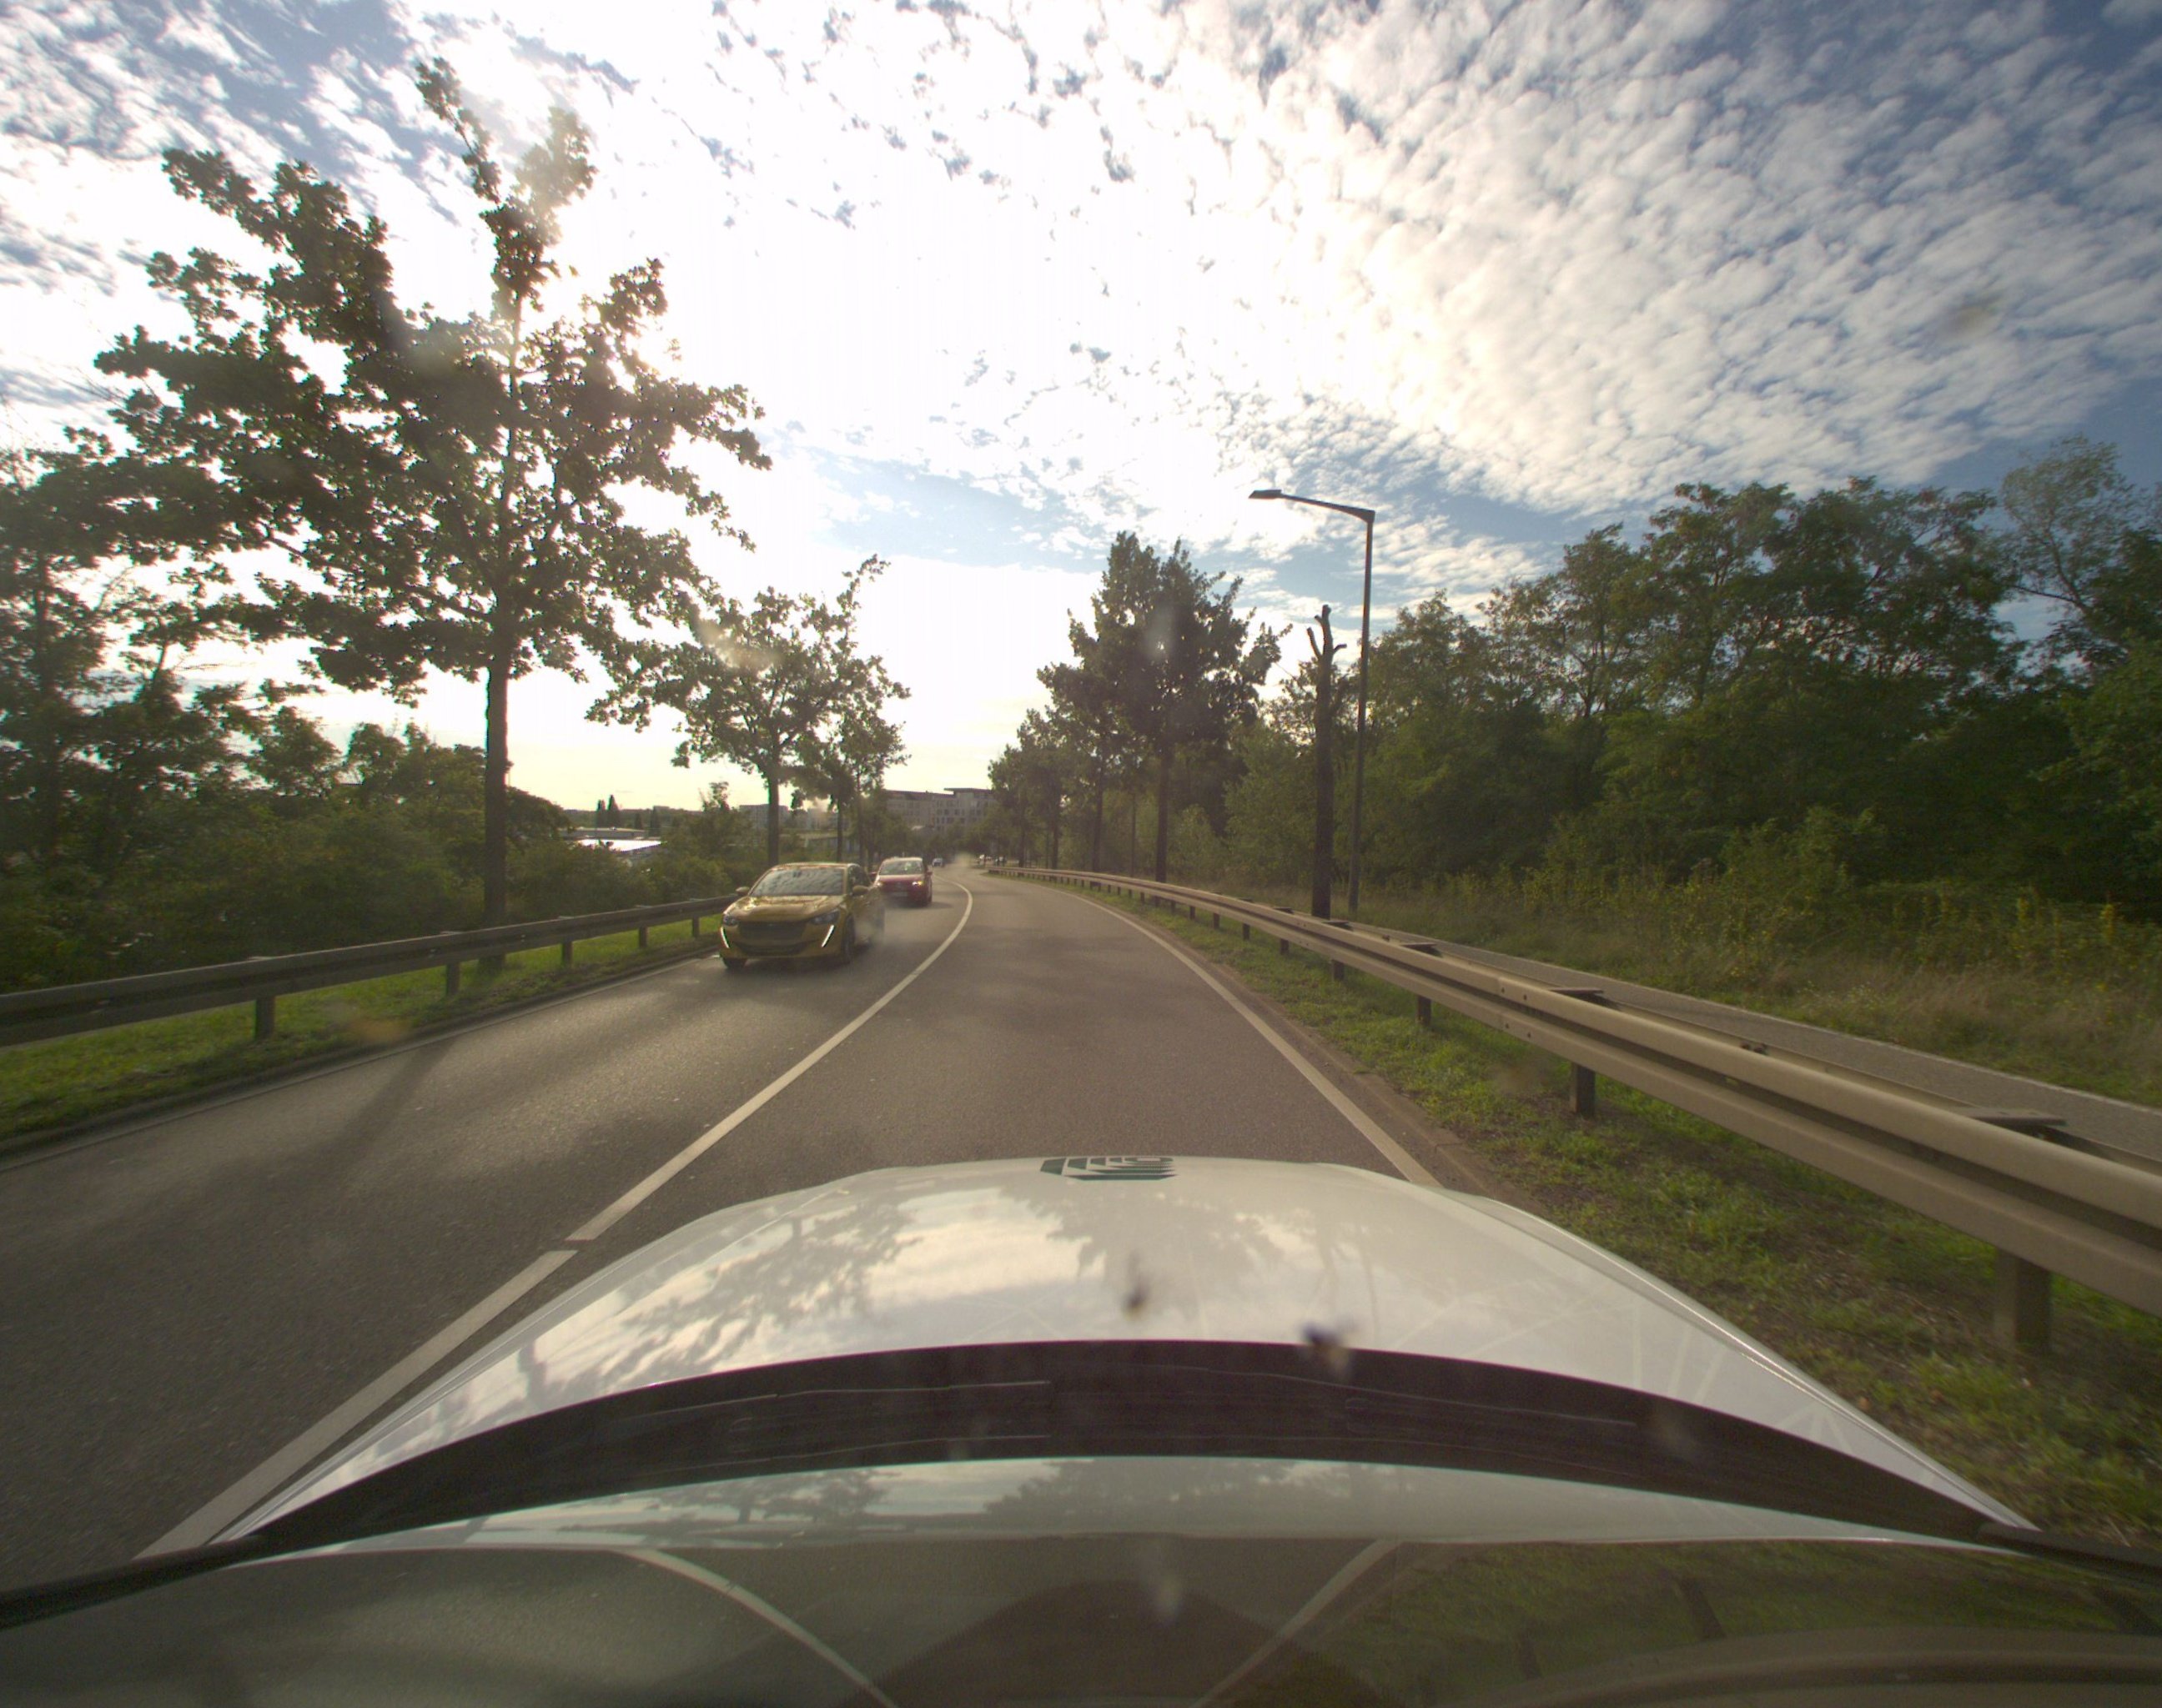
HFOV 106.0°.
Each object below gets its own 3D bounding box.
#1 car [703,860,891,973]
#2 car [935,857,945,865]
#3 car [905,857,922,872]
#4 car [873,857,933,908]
[{"bbox_3d":[-4.167,0.827,12.625,1.796,1.425,3.866,-1,0,-5],"label":"car"},{"bbox_3d":[-24.163,1.174,139.806,1.566,1.425,3.581,-1,0,-7],"label":"car"},{"bbox_3d":[-17.053,1.032,82.930,1.567,1.425,3.578,-1,0,-10],"label":"car"},{"bbox_3d":[-5.503,0.835,25.529,1.566,1.425,3.580,-1,0,-8],"label":"car"}]
